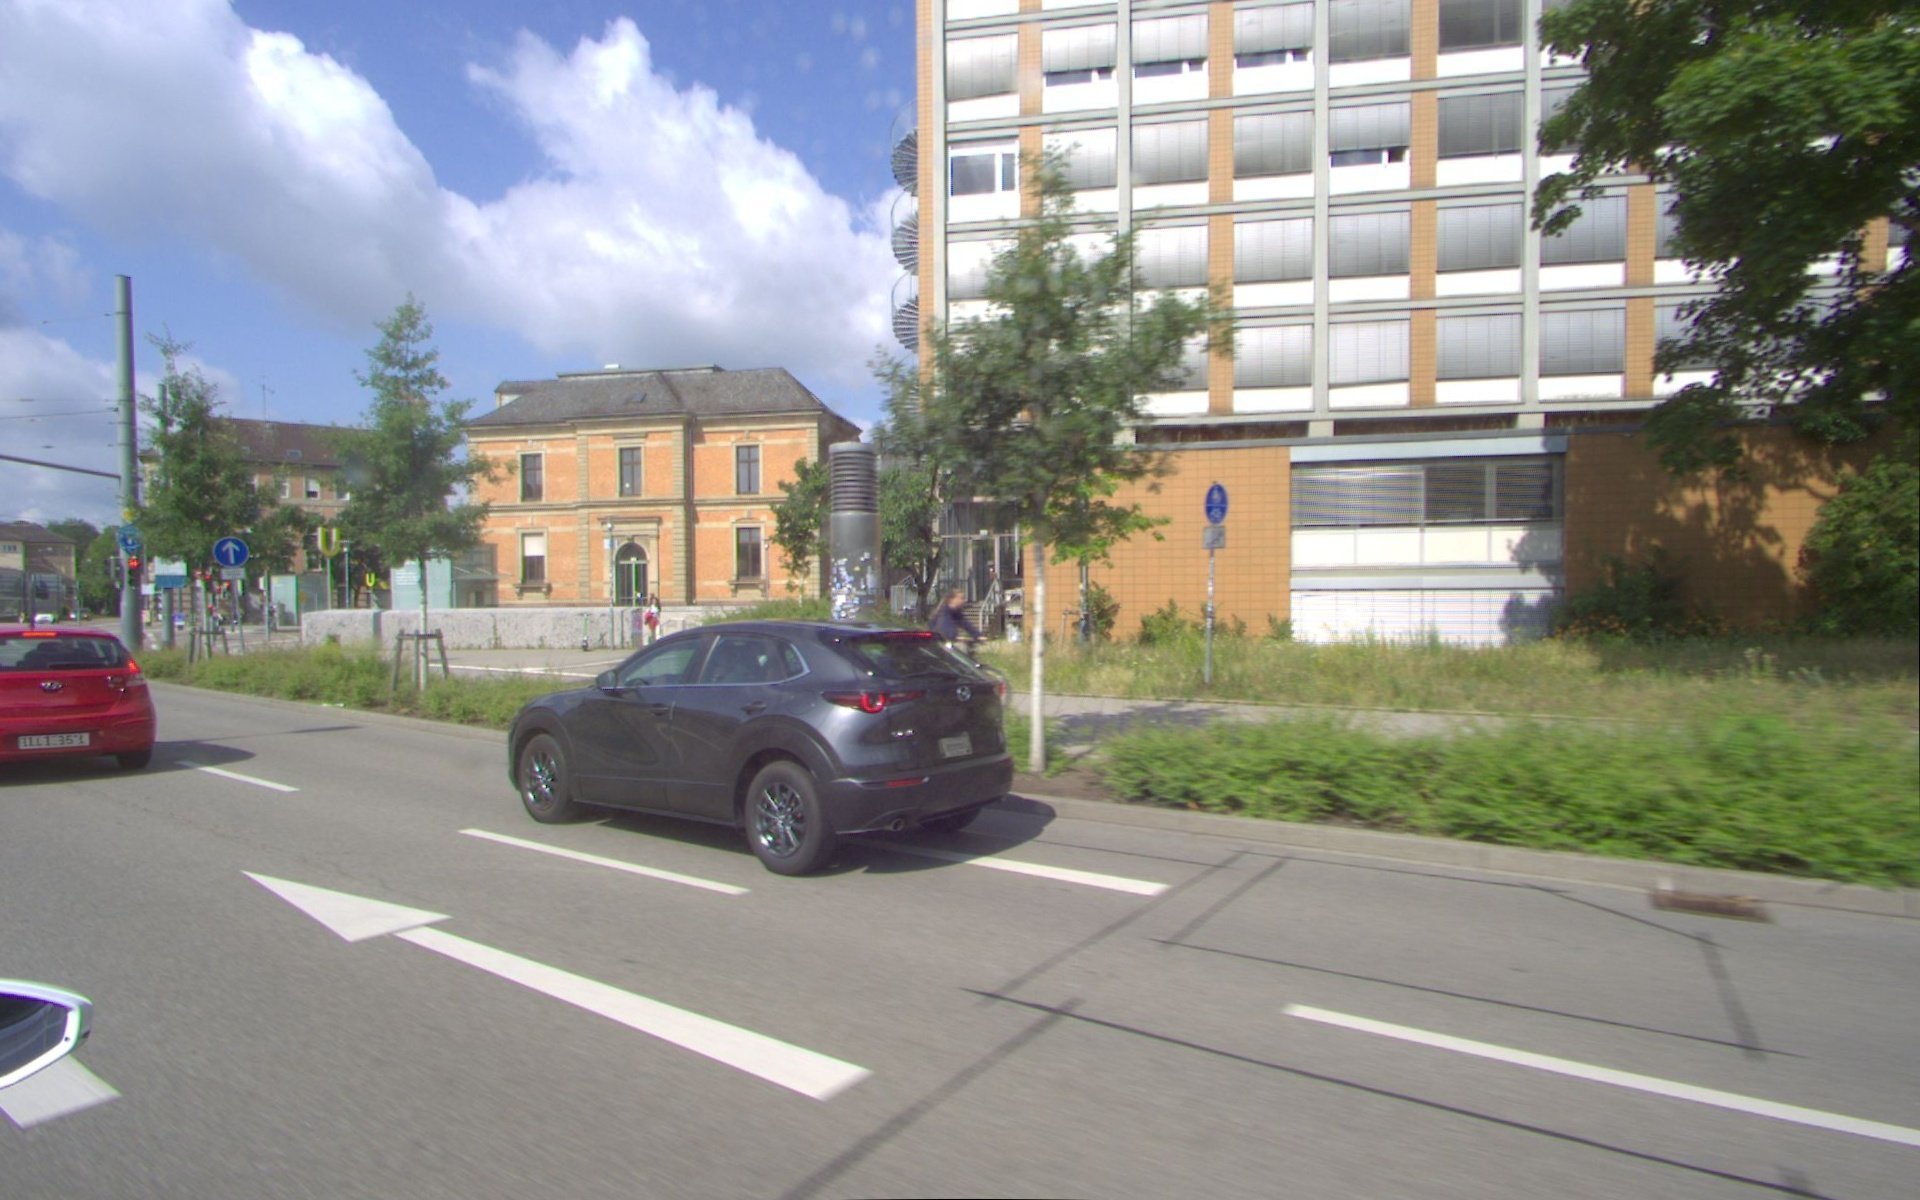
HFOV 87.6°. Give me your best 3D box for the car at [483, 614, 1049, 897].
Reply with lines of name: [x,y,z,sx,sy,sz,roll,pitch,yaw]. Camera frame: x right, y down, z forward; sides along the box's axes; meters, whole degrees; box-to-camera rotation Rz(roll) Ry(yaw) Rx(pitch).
car: [-1.578,0.889,7.385,4.151,1.527,1.800,-1,-1,37]

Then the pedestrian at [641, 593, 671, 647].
pedestrian: [-9.789,0.630,32.307,0.751,1.709,0.881,0,1,-5]

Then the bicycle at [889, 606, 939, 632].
bicycle: [-1.953,0.800,42.430,2.031,1.087,1.037,0,0,3]

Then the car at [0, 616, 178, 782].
car: [-9.950,0.908,10.424,4.013,1.458,1.811,0,-1,36]

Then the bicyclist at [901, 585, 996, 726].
bicyclist: [-0.147,0.685,12.879,0.952,1.725,0.733,0,2,36]

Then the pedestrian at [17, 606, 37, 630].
pedestrian: [-59.729,1.139,64.108,0.661,1.556,0.675,0,1,-2]

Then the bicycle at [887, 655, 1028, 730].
bicycle: [-0.052,1.151,12.807,1.765,0.822,0.622,0,2,36]

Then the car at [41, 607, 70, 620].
car: [-106.555,1.559,117.949,1.974,1.461,3.973,0,0,-34]

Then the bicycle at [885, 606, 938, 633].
bicycle: [-1.932,0.770,39.975,2.031,1.087,1.037,0,0,3]

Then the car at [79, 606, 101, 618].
car: [-118.860,1.671,136.874,1.976,1.595,3.970,0,0,-37]

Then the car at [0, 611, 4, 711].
car: [-16.596,0.926,15.503,4.277,1.492,1.842,0,1,36]
